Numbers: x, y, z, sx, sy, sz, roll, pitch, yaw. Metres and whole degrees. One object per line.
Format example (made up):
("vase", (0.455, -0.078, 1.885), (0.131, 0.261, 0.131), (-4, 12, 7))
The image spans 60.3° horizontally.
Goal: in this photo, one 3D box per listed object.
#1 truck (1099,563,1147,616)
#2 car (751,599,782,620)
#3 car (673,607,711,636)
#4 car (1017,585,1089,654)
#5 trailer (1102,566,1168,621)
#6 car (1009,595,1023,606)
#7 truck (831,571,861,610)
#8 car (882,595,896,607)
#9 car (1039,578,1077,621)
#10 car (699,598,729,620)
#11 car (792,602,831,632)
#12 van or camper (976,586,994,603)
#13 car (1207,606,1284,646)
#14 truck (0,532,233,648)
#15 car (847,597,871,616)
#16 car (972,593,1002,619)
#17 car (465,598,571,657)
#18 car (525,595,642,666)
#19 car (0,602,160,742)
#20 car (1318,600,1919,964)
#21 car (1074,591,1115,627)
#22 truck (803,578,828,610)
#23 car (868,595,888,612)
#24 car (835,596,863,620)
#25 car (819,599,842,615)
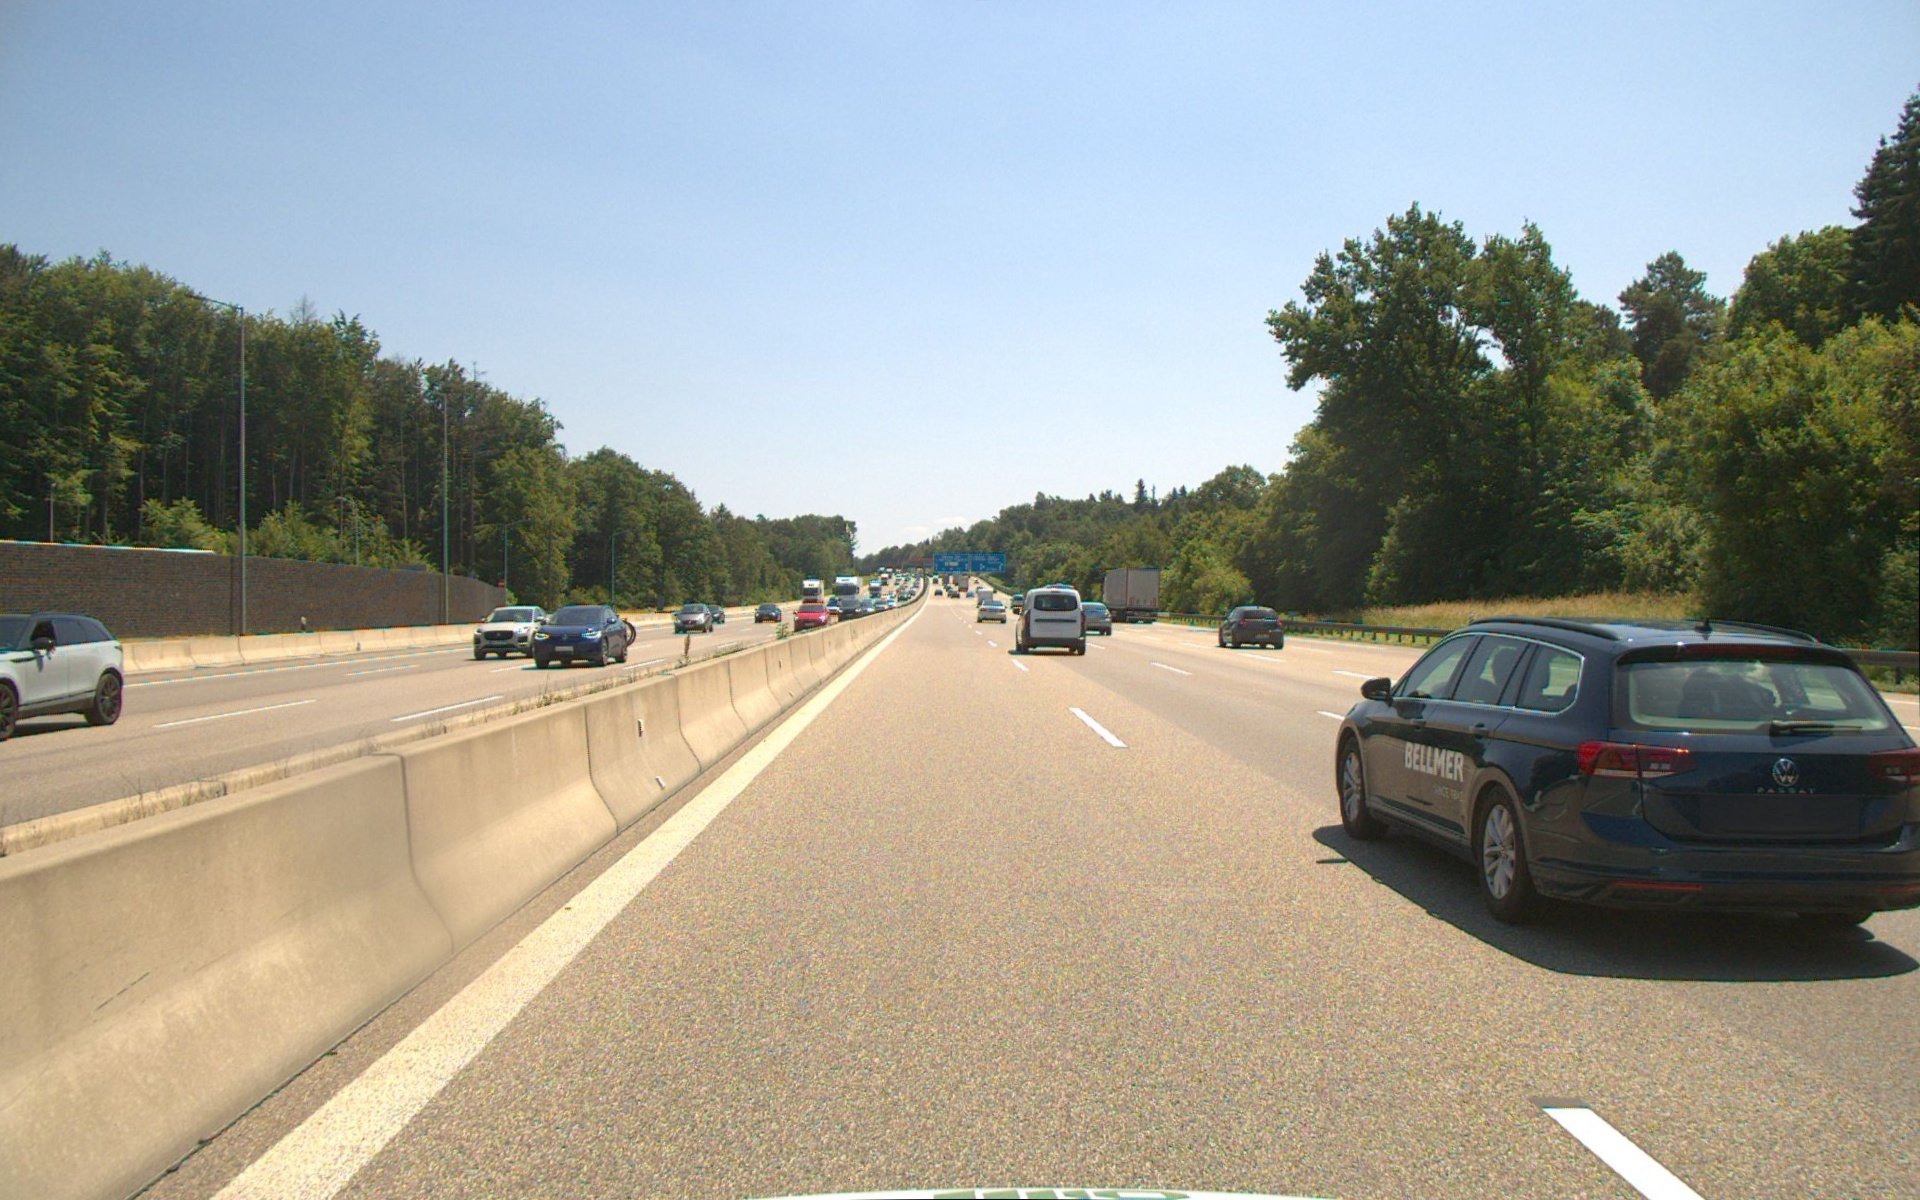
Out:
("truck", (13.374, -0.890, 135.977), (3.188, 4.178, 5.987), (1, 1, -1))
("car", (-15.295, 0.727, 131.114), (1.953, 1.649, 5.753), (-1, 0, -2))
("car", (-15.007, 1.199, 92.703), (1.687, 1.582, 4.055), (0, 0, -3))
("car", (2.613, 0.524, 47.349), (1.821, 1.857, 4.612), (-1, 0, 0))
("trailer", (13.549, -0.623, 129.399), (3.221, 3.999, 13.887), (1, 1, -1))
("car", (7.692, 0.051, 227.550), (1.798, 1.361, 3.642), (-1, 1, -1))
("truck", (-12.719, -1.021, 185.327), (2.985, 4.209, 6.947), (-1, 0, -1))
("car", (-8.896, 0.148, 208.017), (1.712, 1.483, 4.154), (0, 0, -3))
("car", (6.393, -0.084, 108.639), (2.100, 2.698, 5.709), (1, 1, -1))
("car", (-19.544, 0.692, 131.511), (1.953, 1.649, 4.212), (-1, 0, -3))
("car", (-7.954, 0.866, 88.749), (1.695, 1.540, 5.043), (0, 0, -1))
("van or camper", (3.842, -0.799, 256.515), (2.591, 2.583, 6.501), (0, 0, -1))
("car", (9.825, 0.873, 57.143), (1.637, 1.296, 4.286), (0, 0, -4))
("truck", (-46.595, -0.511, 85.446), (3.392, 5.711, 16.598), (0, 0, 43))
("car", (-9.015, 0.565, 147.957), (1.953, 1.692, 4.969), (-1, 0, -2))
("car", (1.778, 0.411, 108.767), (1.805, 1.657, 4.552), (-1, 0, -1))
("car", (-14.410, 0.860, 54.309), (1.953, 1.805, 5.922), (-1, 0, -1))
("car", (-10.335, 0.784, 45.814), (1.953, 1.805, 5.922), (-1, 0, -1))
("car", (-13.482, 0.943, 23.381), (1.953, 1.805, 5.038), (-1, 0, -1))
("car", (3.405, 0.750, 9.289), (1.694, 1.472, 4.961), (0, 0, 0))
("car", (6.038, 0.396, 74.725), (1.473, 1.527, 3.649), (-1, 0, -1))
("truck", (-19.992, -0.770, 229.191), (2.778, 4.271, 10.592), (-1, 0, -2))
("car", (-8.622, 0.374, 174.157), (1.955, 1.512, 5.133), (-6, 0, -2))
("car", (-8.336, 0.603, 124.597), (1.953, 1.692, 5.752), (-1, 0, -2))
("car", (-12.653, 0.674, 161.639), (1.954, 1.513, 5.016), (-2, 0, -2))
